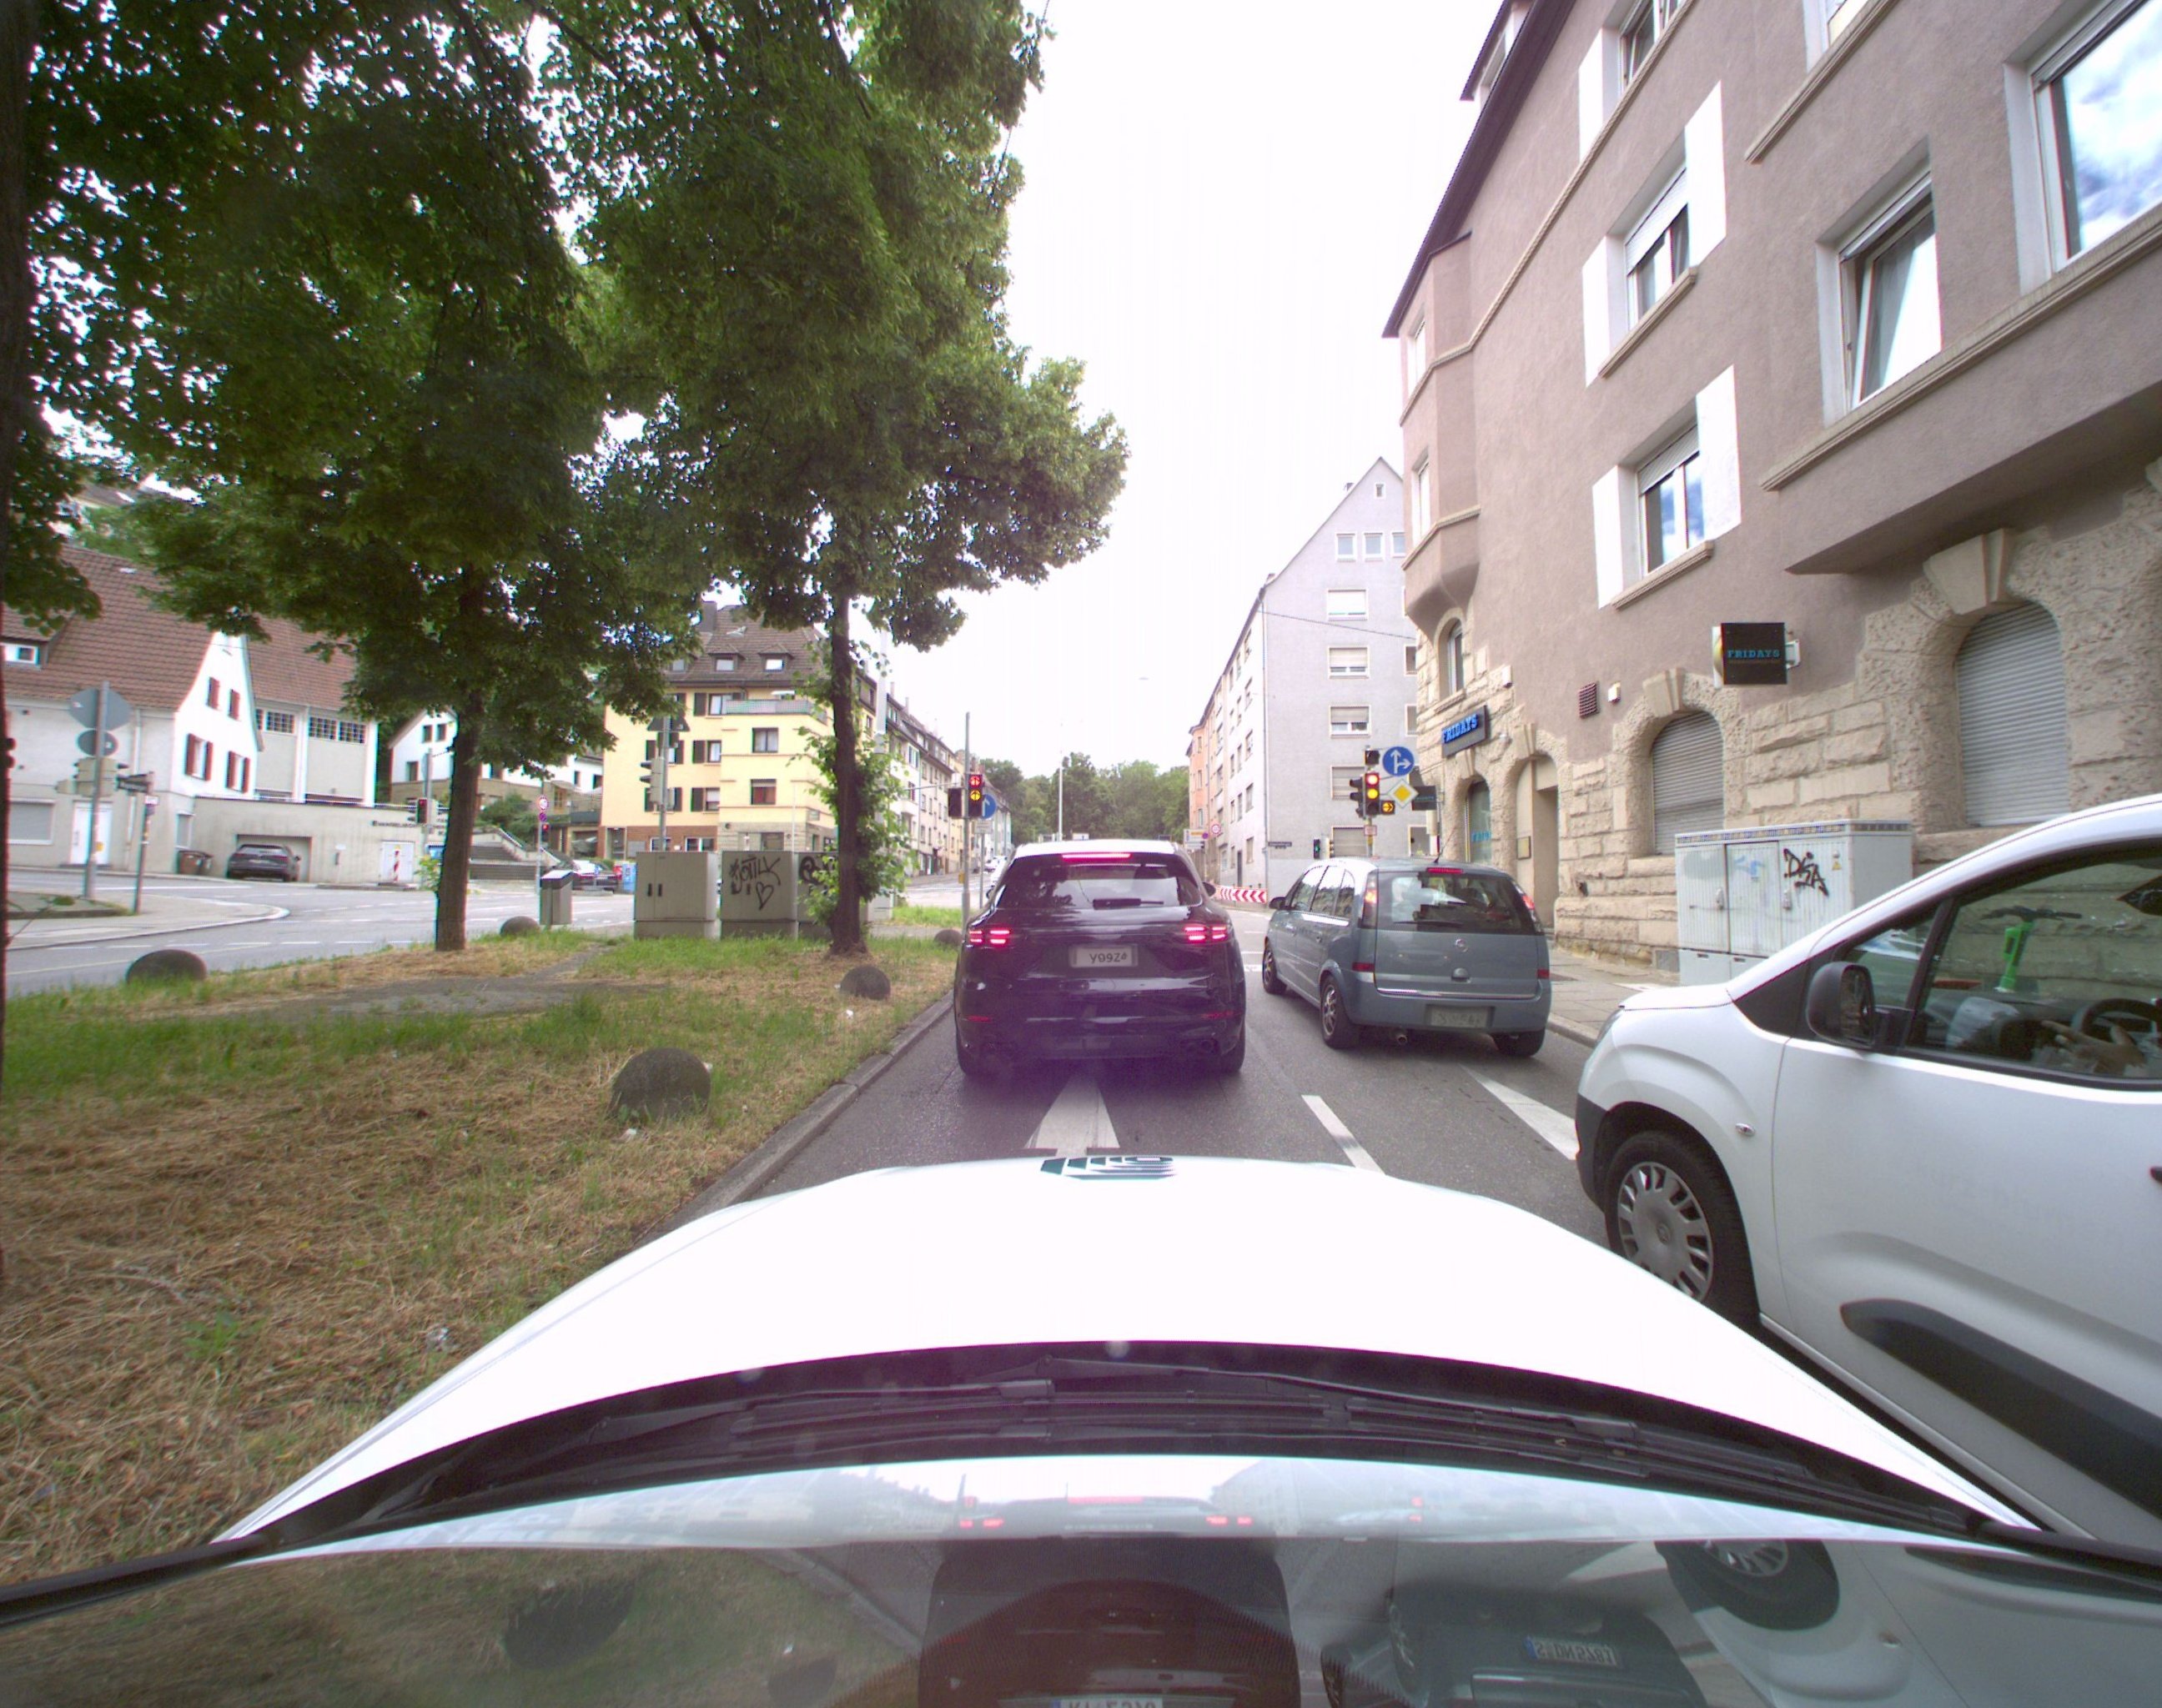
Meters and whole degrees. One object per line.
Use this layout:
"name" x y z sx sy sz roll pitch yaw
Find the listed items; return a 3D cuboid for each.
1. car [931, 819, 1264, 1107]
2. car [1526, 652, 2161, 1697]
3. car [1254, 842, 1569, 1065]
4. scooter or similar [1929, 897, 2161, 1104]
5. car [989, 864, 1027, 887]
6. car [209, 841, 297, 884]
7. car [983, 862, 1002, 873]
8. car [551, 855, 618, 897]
"car" 0.157 0.661 6.833 1.948 1.674 4.001 -1 -1 2
"car" 2.841 0.577 1.031 1.969 1.775 4.676 3 0 0
"car" 2.864 0.757 7.933 1.622 1.598 3.670 3 0 2
"scooter or similar" 6.422 0.866 5.224 0.524 1.104 1.424 -1 -1 4
"car" -4.518 1.310 50.840 1.854 1.388 4.096 0 0 2
"car" -32.228 0.342 31.693 3.018 1.405 1.681 3 -4 33
"car" -10.801 1.641 99.272 1.732 1.387 3.815 0 0 2
"car" -23.651 1.009 38.791 3.477 1.596 1.881 7 4 44
